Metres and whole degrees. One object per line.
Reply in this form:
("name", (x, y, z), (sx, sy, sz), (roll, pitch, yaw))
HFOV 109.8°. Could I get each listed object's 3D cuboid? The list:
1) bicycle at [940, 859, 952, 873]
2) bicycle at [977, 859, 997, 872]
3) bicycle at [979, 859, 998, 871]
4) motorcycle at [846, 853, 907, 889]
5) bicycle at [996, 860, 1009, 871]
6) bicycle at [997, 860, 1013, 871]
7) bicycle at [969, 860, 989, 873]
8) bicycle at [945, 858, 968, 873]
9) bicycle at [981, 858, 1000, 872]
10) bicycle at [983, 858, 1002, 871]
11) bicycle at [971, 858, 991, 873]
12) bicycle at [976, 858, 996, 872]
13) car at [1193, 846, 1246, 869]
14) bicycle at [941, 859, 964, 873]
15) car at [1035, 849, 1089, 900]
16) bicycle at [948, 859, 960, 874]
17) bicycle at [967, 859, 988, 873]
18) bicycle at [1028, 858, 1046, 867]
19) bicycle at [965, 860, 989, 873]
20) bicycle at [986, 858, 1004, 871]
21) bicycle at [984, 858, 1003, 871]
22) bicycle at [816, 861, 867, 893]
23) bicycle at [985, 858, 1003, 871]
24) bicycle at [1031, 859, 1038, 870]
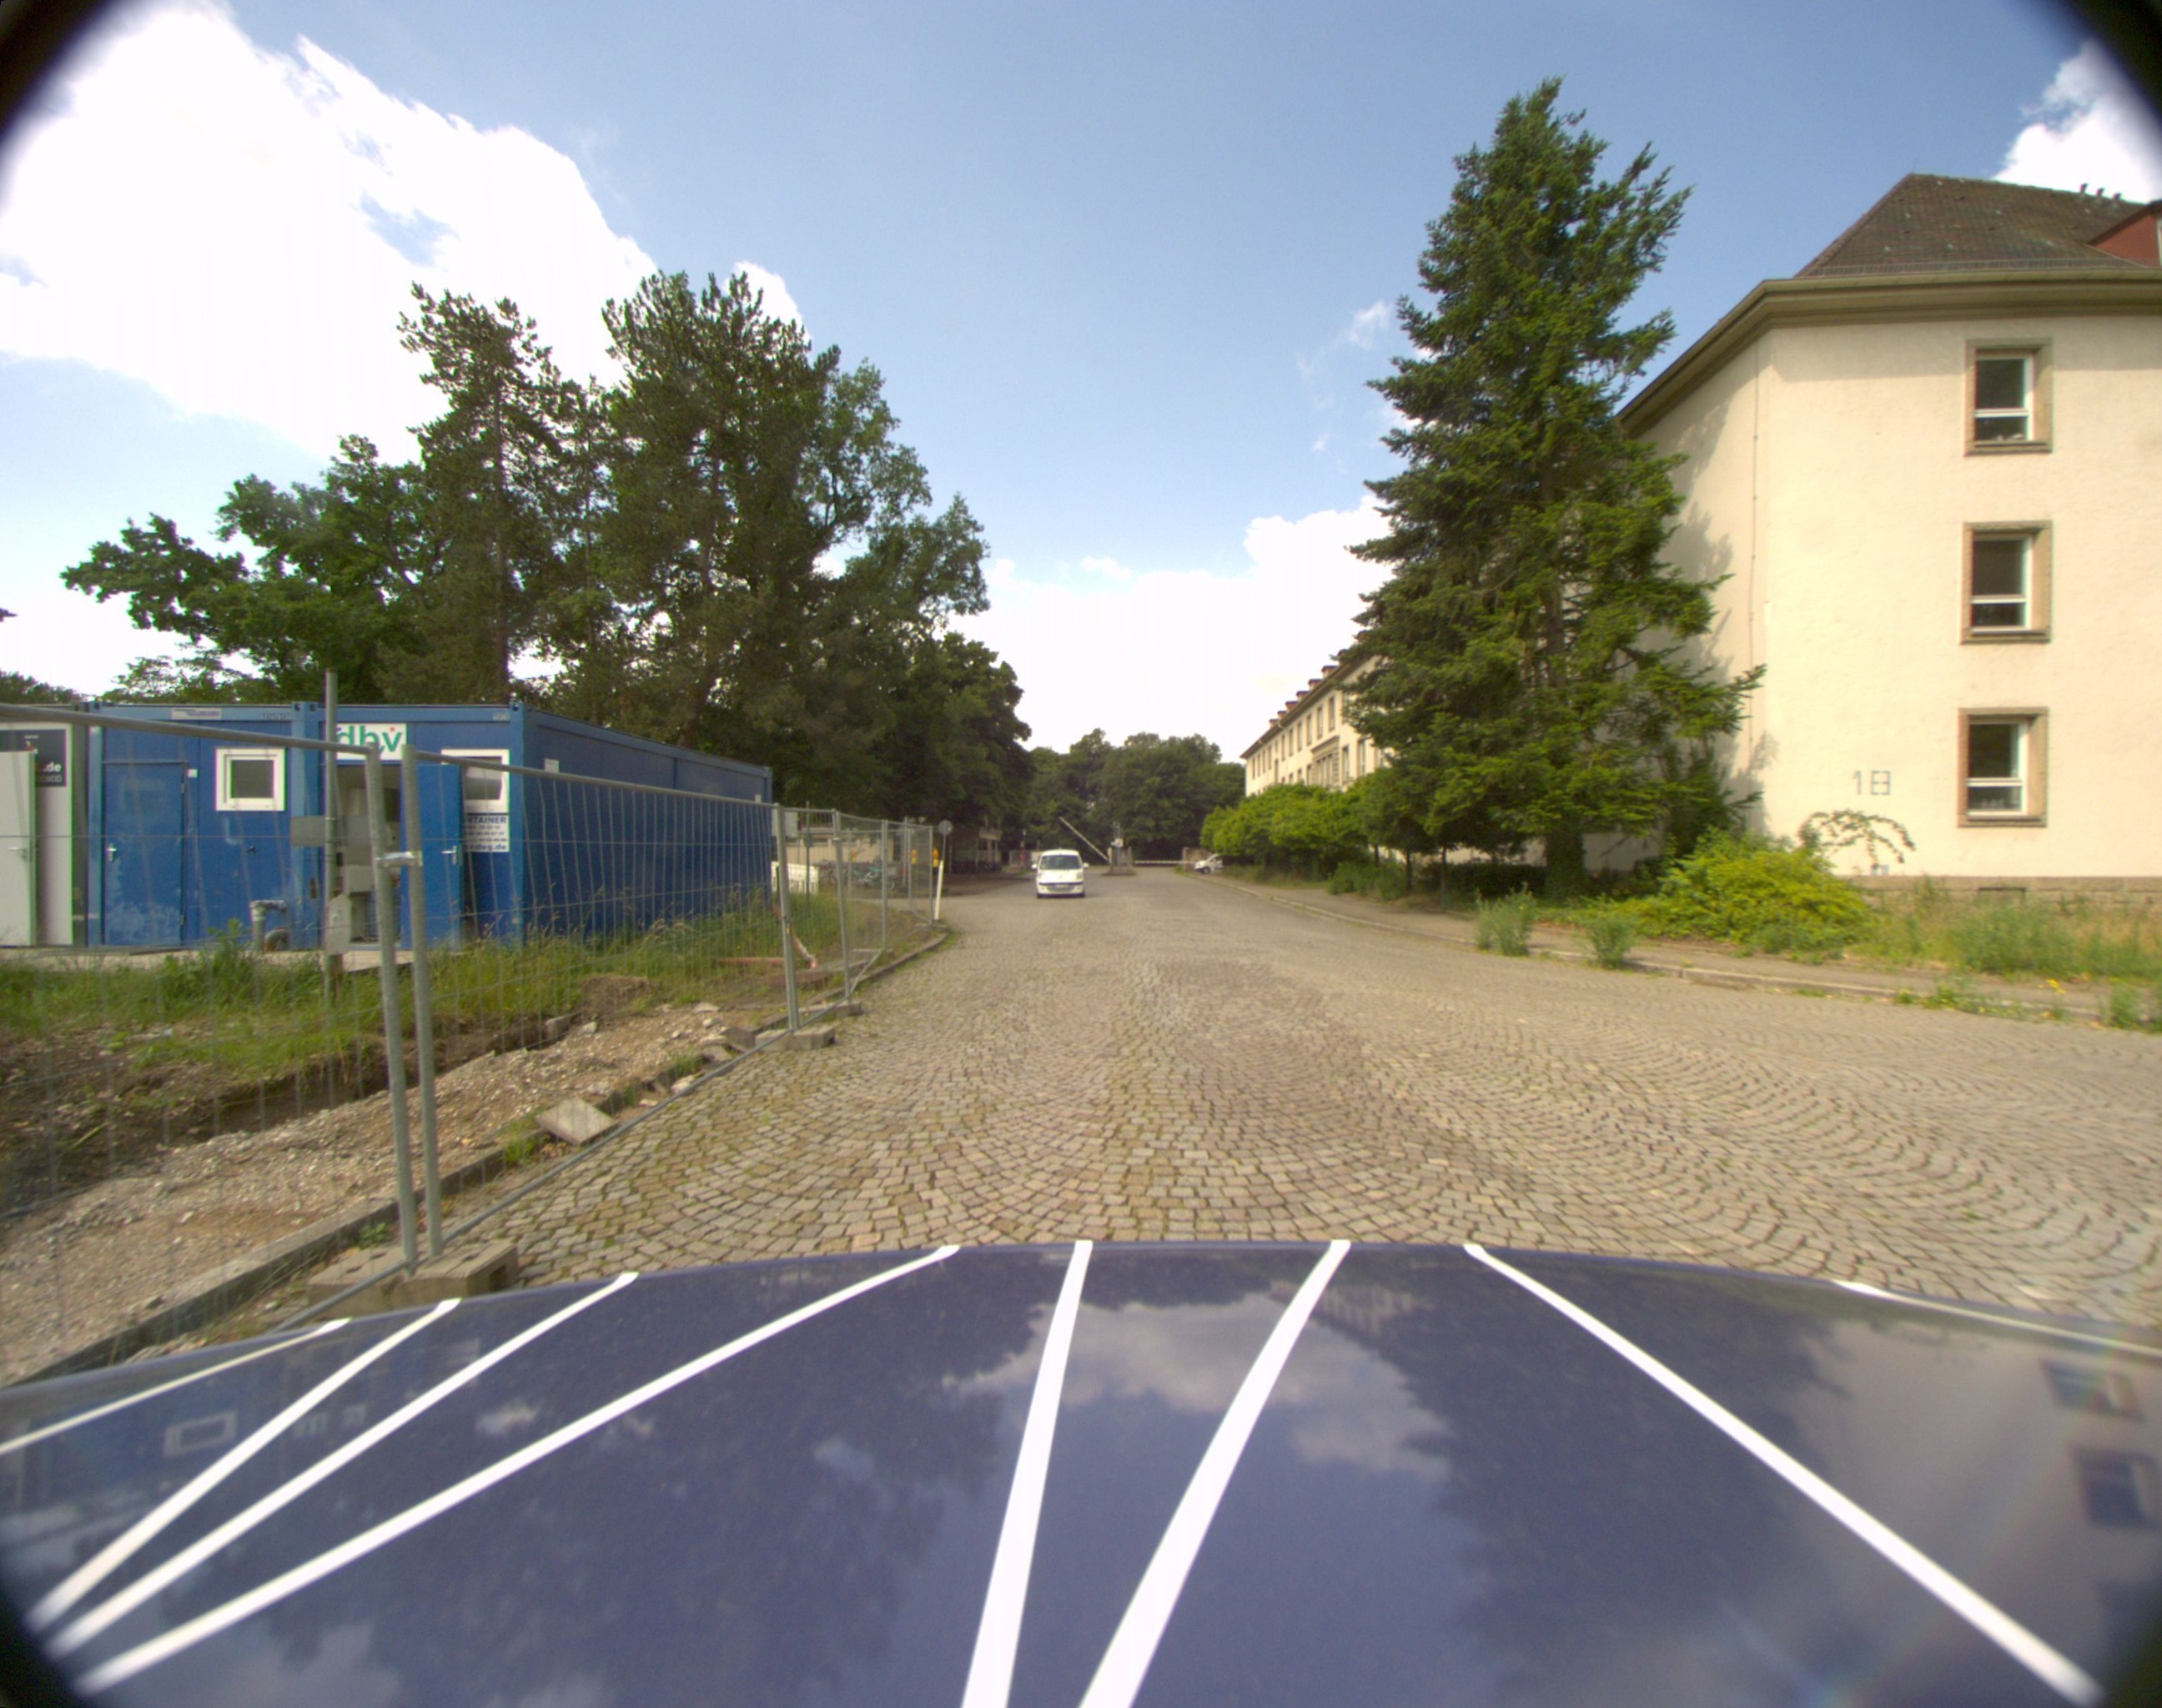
("bicycle", (-10.526, 0.933, 59.191), (0.598, 1.110, 1.635), (2, 0, 2))
("bicycle", (-8.230, 1.001, 66.539), (1.635, 1.044, 0.334), (2, 0, -12))
("bicycle", (-8.149, 0.995, 67.181), (1.596, 1.044, 0.325), (2, 0, -5))
("motorcycle", (-8.468, 0.697, 31.526), (2.282, 1.476, 0.757), (1, 0, -2))
("bicycle", (-7.312, 1.055, 70.708), (1.154, 1.056, 0.286), (0, 0, -18))
("bicycle", (-7.121, 1.064, 71.230), (1.407, 1.040, 0.338), (0, 0, -24))
("bicycle", (-8.508, 1.044, 63.246), (1.637, 0.970, 0.322), (2, 0, -27))
("bicycle", (-10.353, 0.969, 63.222), (1.745, 1.158, 0.608), (2, 0, -1))
("bicycle", (-8.035, 0.969, 67.580), (1.596, 1.134, 0.325), (2, 0, -5))
("bicycle", (-7.964, 0.965, 68.249), (1.617, 1.134, 0.325), (2, 0, -5))
("bicycle", (-8.415, 0.944, 63.943), (1.635, 1.183, 0.473), (2, 0, -11))
("bicycle", (-8.261, 0.949, 65.924), (1.635, 1.183, 0.498), (2, 0, -9))
("car", (12.203, 0.261, 67.000), (4.311, 1.795, 1.820), (-3, 1, 1))
("bicycle", (-10.540, 0.977, 62.202), (1.745, 1.158, 0.608), (2, 0, -1))
("car", (-0.650, 0.726, 29.035), (1.867, 1.749, 4.149), (-2, 0, 0))
("bicycle", (-9.882, 0.970, 59.189), (0.598, 1.110, 1.635), (2, 0, 2))
("bicycle", (-8.393, 0.965, 61.644), (1.682, 1.102, 0.338), (2, 0, -11))
("bicycle", (-4.572, 0.854, 78.871), (1.867, 0.934, 0.503), (1, 0, -2))
("bicycle", (-8.572, 1.046, 62.541), (1.749, 0.970, 0.757), (2, 0, -27))
("bicycle", (-7.822, 0.988, 69.096), (1.617, 1.134, 0.325), (2, 0, -5))
("bicycle", (-7.898, 0.990, 68.714), (1.617, 1.134, 0.325), (2, 0, -5))
("bicycle", (-9.216, 0.859, 29.231), (1.900, 1.190, 0.657), (1, 0, 22))
("bicycle", (-7.968, 0.998, 69.563), (1.617, 1.134, 0.356), (2, 0, -5))
("bicycle", (-4.694, 1.028, 76.307), (0.474, 1.051, 1.733), (0, 0, 3))
